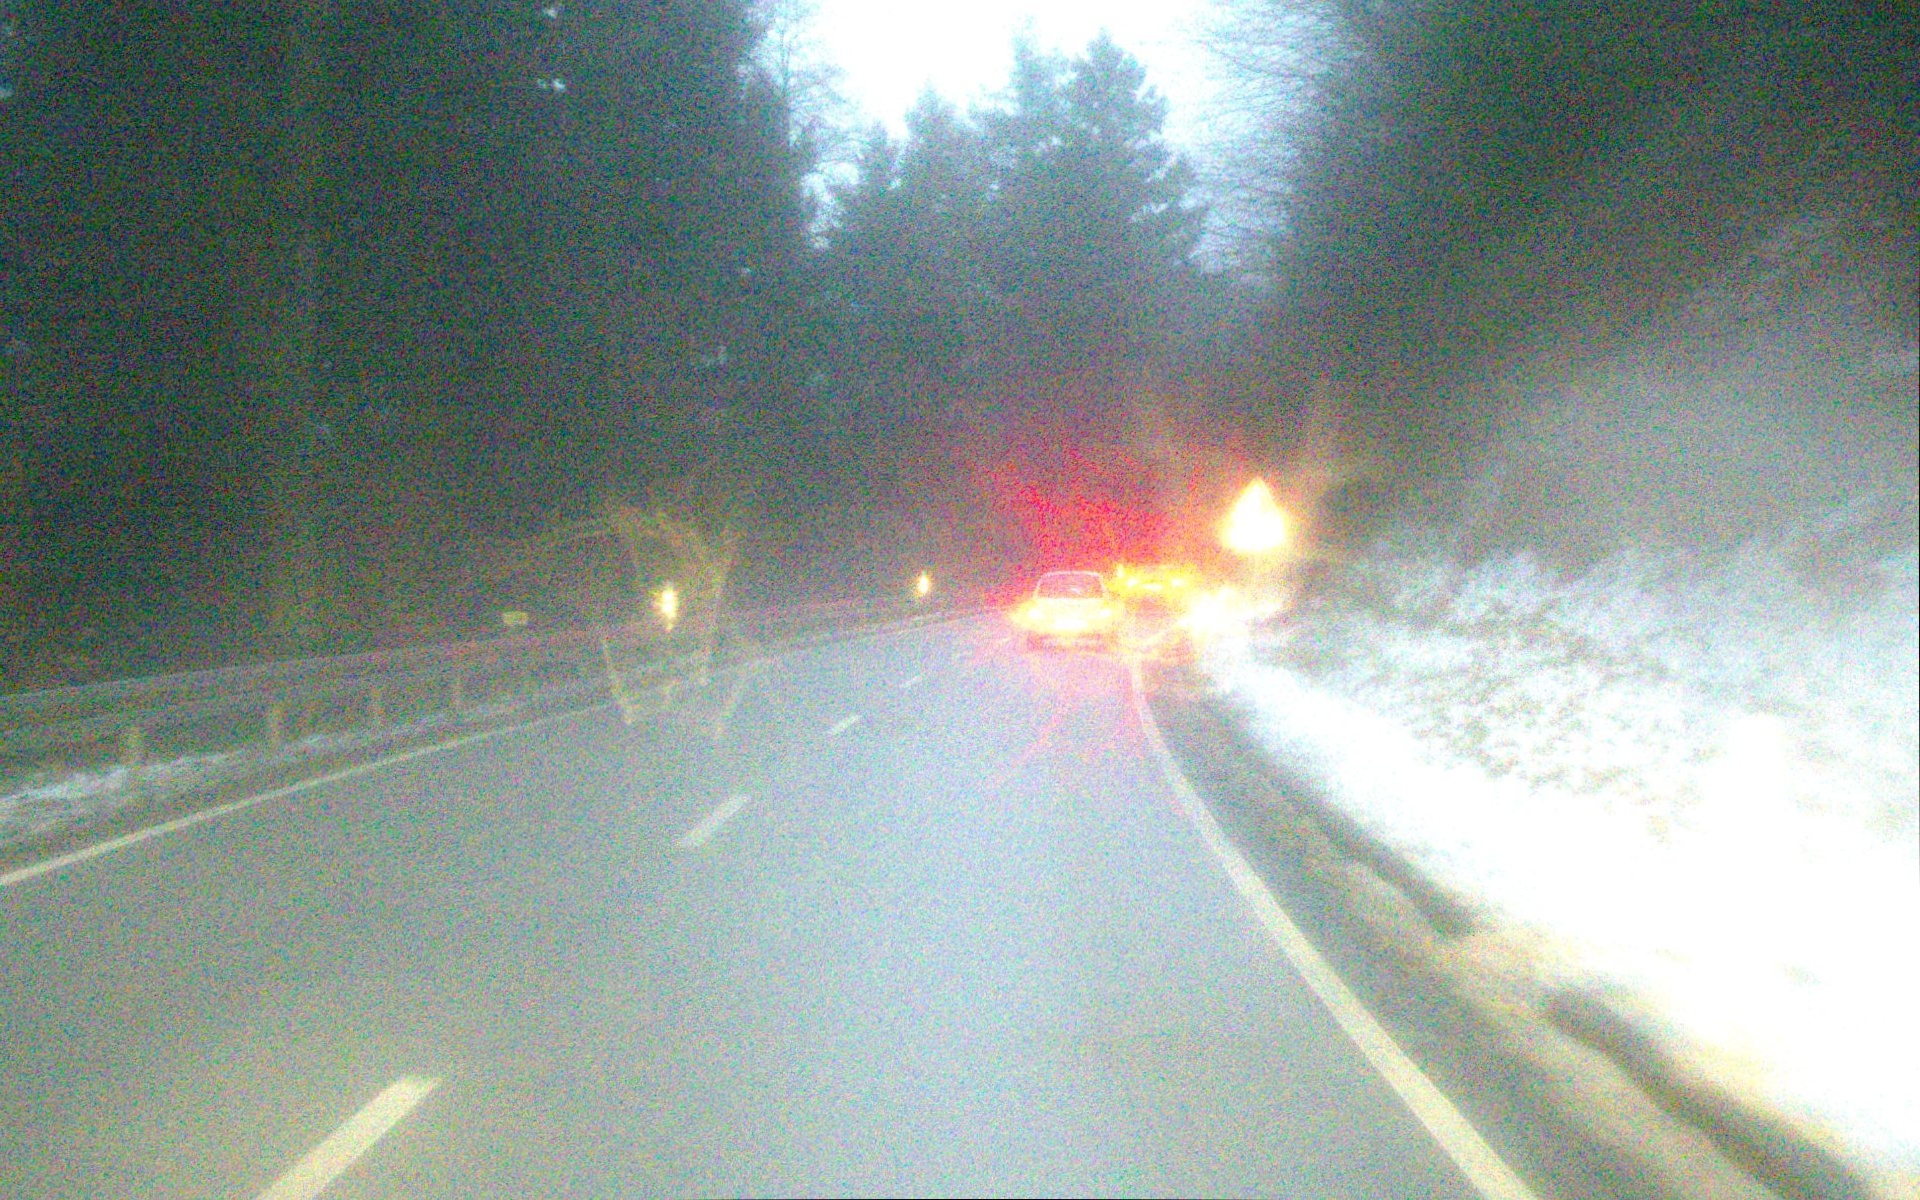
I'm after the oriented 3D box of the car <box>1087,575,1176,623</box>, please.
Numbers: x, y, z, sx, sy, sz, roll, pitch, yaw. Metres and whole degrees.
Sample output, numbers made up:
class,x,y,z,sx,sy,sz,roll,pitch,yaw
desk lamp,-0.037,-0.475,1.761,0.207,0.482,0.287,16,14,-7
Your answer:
class,x,y,z,sx,sy,sz,roll,pitch,yaw
car,5.009,-0.048,100.855,1.993,1.305,4.001,-2,1,-5

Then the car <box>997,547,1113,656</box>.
class,x,y,z,sx,sy,sz,roll,pitch,yaw
car,1.753,-0.007,63.330,1.993,1.866,4.000,-2,1,2
